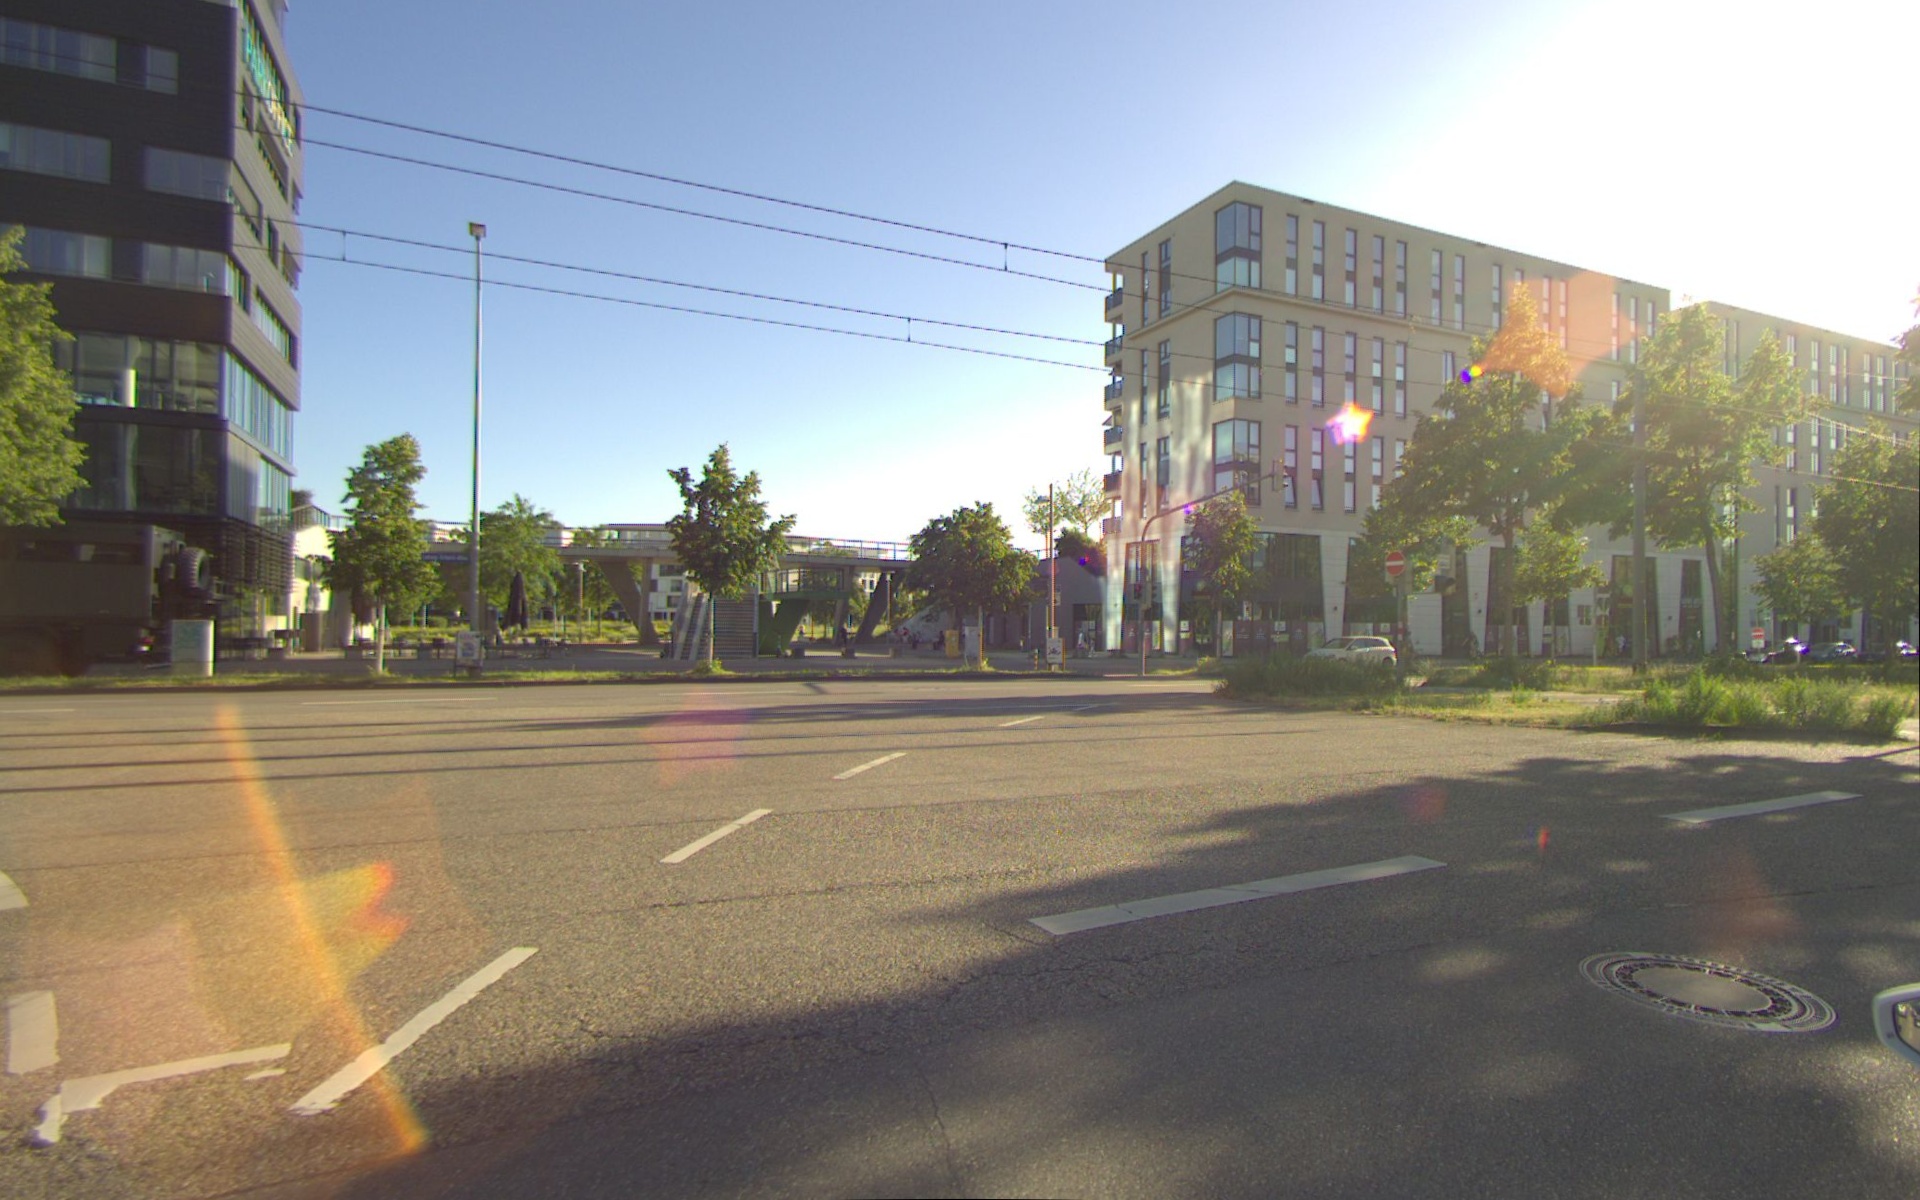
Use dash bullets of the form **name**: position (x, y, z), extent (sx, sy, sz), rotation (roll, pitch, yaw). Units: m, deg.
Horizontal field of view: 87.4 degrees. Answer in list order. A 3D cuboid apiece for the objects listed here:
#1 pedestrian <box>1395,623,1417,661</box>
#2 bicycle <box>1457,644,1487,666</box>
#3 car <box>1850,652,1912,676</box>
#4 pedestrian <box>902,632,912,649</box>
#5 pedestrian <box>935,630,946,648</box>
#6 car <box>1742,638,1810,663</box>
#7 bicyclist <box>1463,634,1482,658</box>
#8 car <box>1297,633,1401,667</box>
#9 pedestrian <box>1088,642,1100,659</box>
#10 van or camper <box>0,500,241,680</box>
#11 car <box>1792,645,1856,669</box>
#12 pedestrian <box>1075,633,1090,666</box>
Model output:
- **pedestrian**: position (21.685, 2.026, 48.830), extent (0.790, 1.836, 0.576), rotation (2, 0, -28)
- **bicycle**: position (27.872, 2.999, 54.665), extent (1.616, 1.125, 0.526), rotation (2, 0, -25)
- **car**: position (57.240, 3.971, 62.414), extent (3.662, 1.360, 1.575), rotation (2, -1, -25)
- **pedestrian**: position (-3.593, 2.747, 68.267), extent (0.591, 1.140, 0.438), rotation (2, 0, -23)
- **pedestrian**: position (-1.265, 2.522, 64.427), extent (0.591, 1.140, 0.438), rotation (2, 0, -23)
- **car**: position (46.119, 2.859, 56.772), extent (3.662, 1.360, 1.575), rotation (2, -1, -25)
- **bicyclist**: position (27.910, 2.496, 54.688), extent (0.695, 1.310, 0.576), rotation (2, 0, -24)
- **car**: position (16.727, 2.141, 43.136), extent (4.412, 1.360, 1.575), rotation (2, -1, -26)
- **pedestrian**: position (7.678, 2.890, 57.526), extent (0.589, 0.932, 0.432), rotation (1, 0, 29)
- **van or camper**: position (-24.028, -0.244, 24.504), extent (10.089, 4.248, 2.746), rotation (2, -1, -25)
- **car**: position (51.232, 3.392, 59.560), extent (3.662, 1.360, 1.575), rotation (2, -1, -25)
- **pedestrian**: position (6.878, 2.776, 56.594), extent (0.589, 1.795, 0.671), rotation (1, 0, 29)
